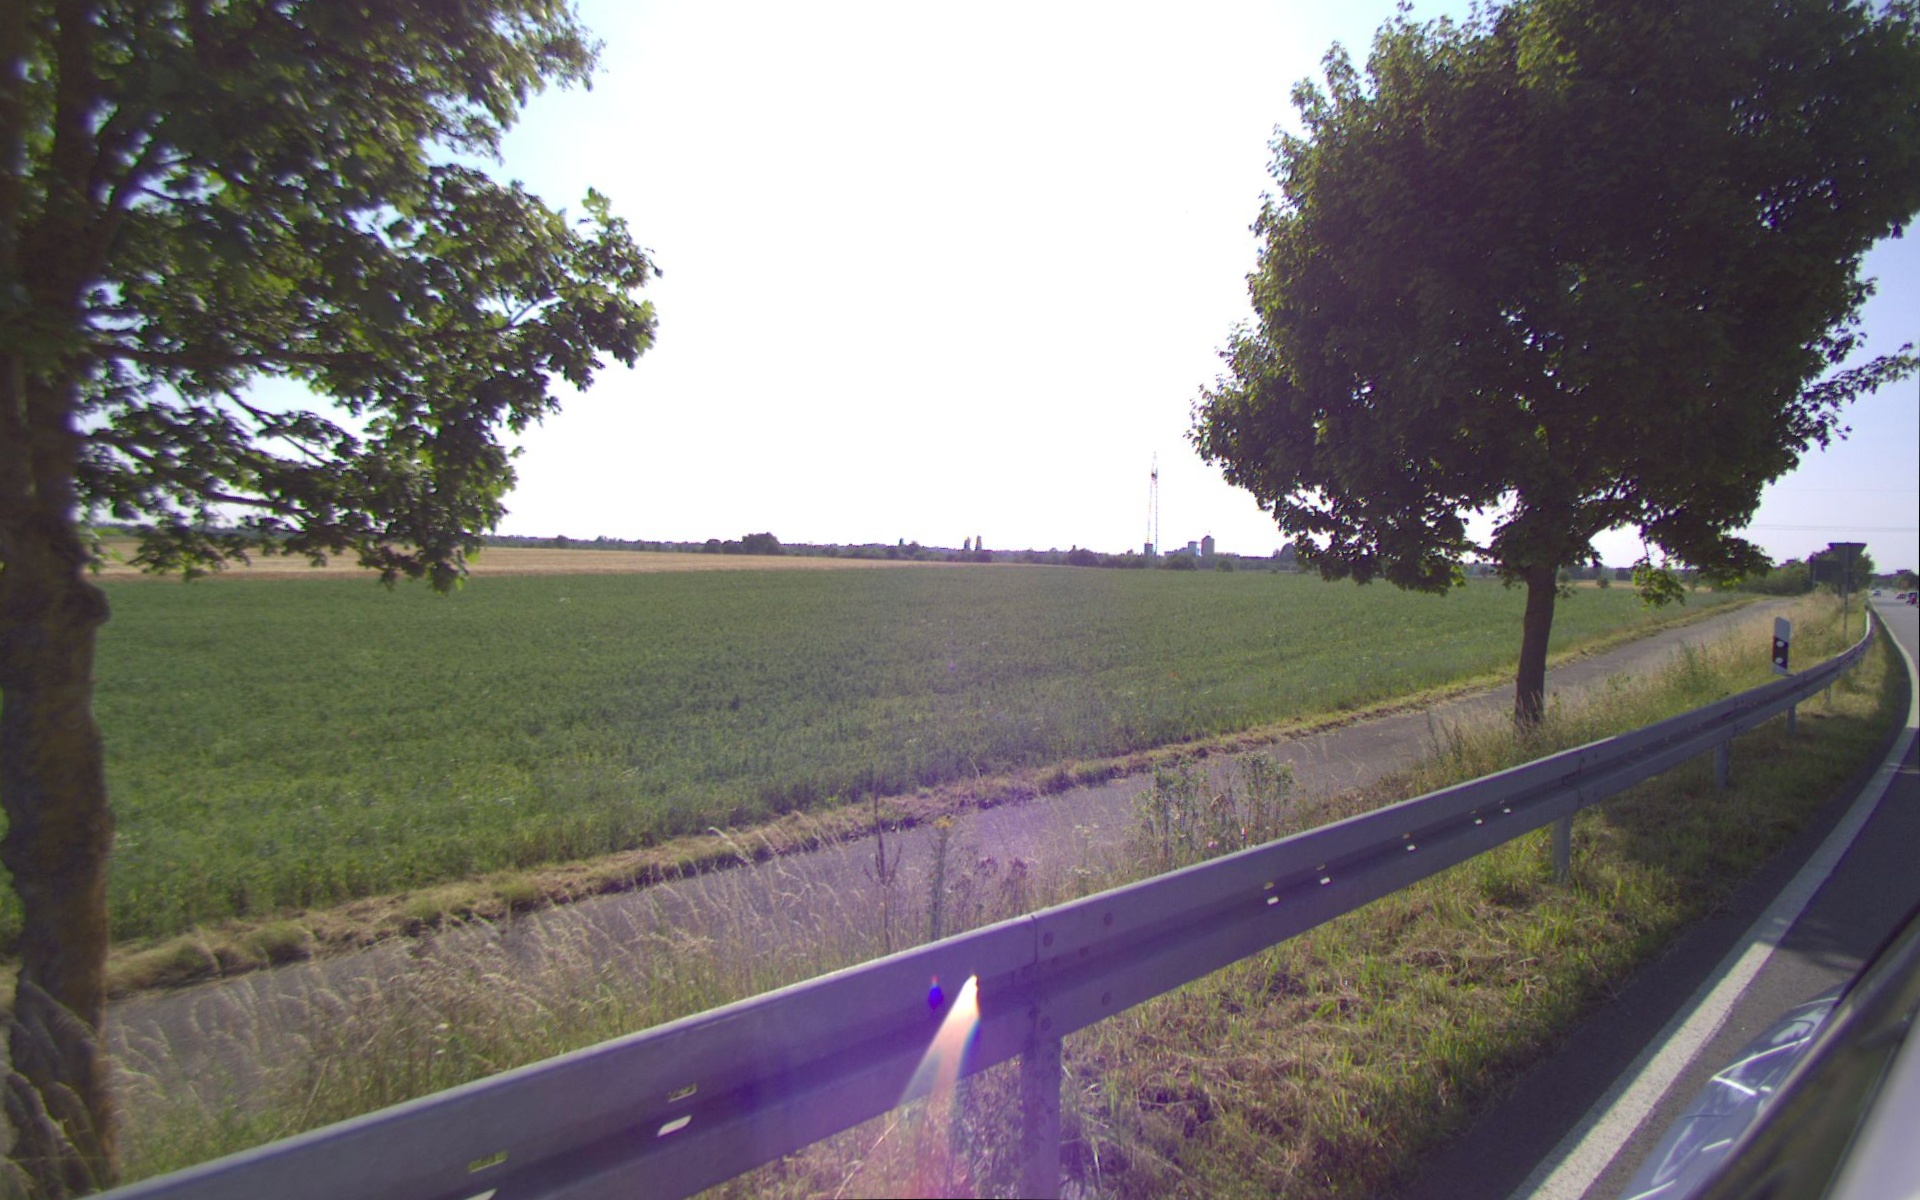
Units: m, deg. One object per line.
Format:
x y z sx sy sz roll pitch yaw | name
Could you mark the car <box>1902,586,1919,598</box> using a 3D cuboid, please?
143.763 -1.216 152.494 2.398 1.709 5.294 3 4 42 | car
